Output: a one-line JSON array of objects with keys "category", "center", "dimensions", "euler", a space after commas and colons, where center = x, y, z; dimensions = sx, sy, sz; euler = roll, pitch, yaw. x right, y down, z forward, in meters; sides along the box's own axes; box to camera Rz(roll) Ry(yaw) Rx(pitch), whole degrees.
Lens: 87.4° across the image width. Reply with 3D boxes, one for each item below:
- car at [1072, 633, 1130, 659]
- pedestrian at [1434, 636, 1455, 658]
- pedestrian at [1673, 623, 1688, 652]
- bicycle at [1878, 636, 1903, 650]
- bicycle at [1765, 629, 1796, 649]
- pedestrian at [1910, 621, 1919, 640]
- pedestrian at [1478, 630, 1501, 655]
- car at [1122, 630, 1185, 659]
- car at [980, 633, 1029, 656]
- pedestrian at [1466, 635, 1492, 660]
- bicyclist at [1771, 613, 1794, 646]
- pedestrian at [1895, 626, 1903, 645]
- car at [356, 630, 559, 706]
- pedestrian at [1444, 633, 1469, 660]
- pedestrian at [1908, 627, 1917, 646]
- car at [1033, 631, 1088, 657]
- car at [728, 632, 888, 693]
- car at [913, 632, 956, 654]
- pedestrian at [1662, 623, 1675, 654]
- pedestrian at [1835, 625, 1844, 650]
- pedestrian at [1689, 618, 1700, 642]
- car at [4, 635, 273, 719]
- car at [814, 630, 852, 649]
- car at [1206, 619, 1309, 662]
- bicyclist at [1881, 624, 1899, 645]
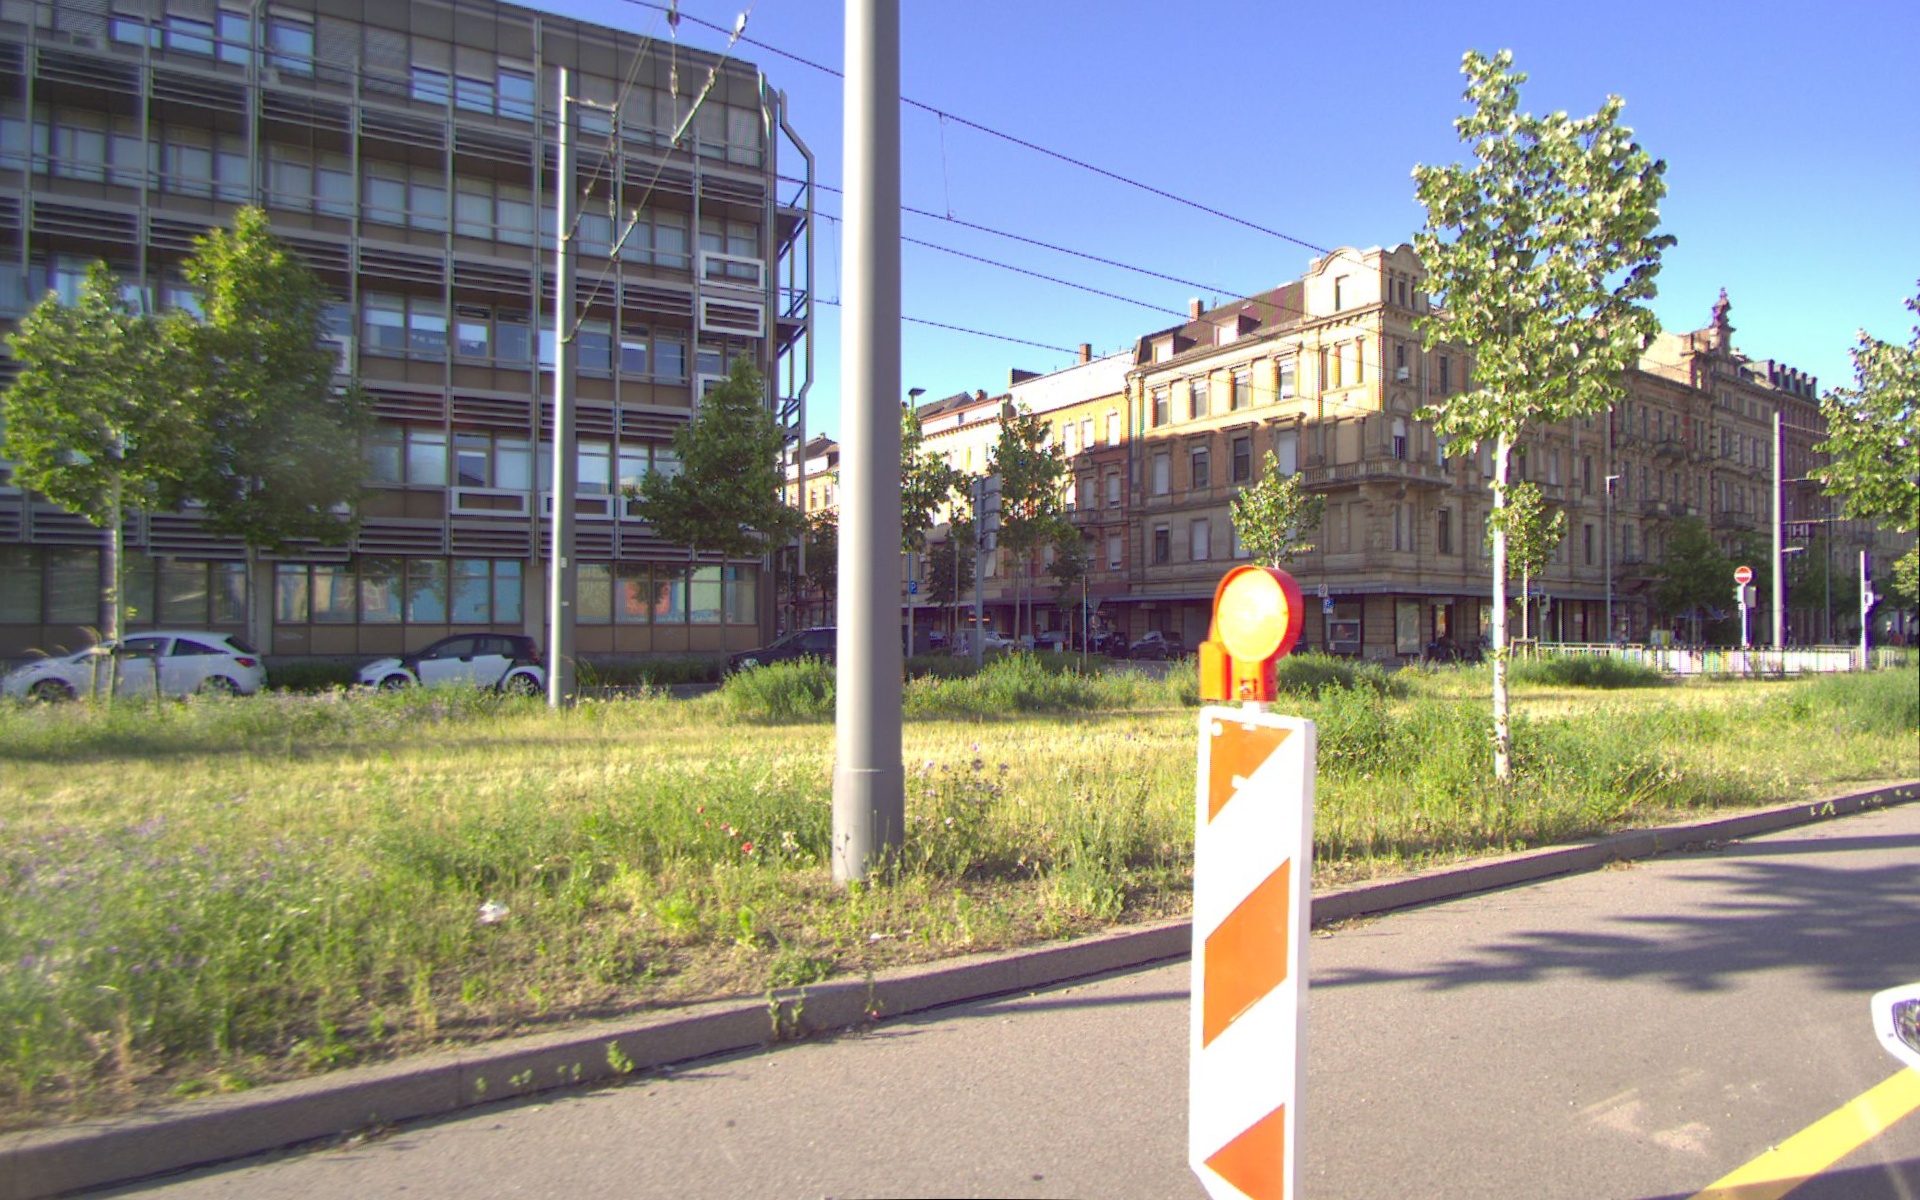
[{"category": "car", "center": [7.856, 2.545, 56.177], "dimensions": [1.566, 1.427, 3.030], "euler": [1, -2, -37]}, {"category": "pedestrian", "center": [23.914, 2.332, 49.569], "dimensions": [0.728, 1.073, 0.686], "euler": [1, -2, -33]}, {"category": "pedestrian", "center": [40.698, 2.138, 56.732], "dimensions": [0.528, 1.606, 0.484], "euler": [1, 0, -34]}, {"category": "bicycle", "center": [57.129, 2.623, 61.655], "dimensions": [2.009, 0.869, 0.633], "euler": [1, -2, -33]}, {"category": "bicycle", "center": [41.543, 1.952, 50.866], "dimensions": [1.807, 0.991, 0.691], "euler": [1, -2, -33]}, {"category": "pedestrian", "center": [80.043, 2.538, 84.219], "dimensions": [0.430, 1.553, 0.402], "euler": [1, 0, -34]}, {"category": "pedestrian", "center": [26.540, 2.136, 50.342], "dimensions": [0.919, 1.224, 0.686], "euler": [1, -2, -33]}, {"category": "car", "center": [10.179, 2.344, 52.916], "dimensions": [1.371, 1.487, 3.121], "euler": [1, -2, -37]}, {"category": "car", "center": [2.763, 2.787, 62.842], "dimensions": [1.472, 1.427, 3.030], "euler": [1, -2, -37]}, {"category": "pedestrian", "center": [25.536, 2.319, 49.446], "dimensions": [0.919, 1.224, 0.787], "euler": [1, -2, -33]}, {"category": "bicyclist", "center": [41.819, 1.514, 51.066], "dimensions": [0.873, 1.679, 0.691], "euler": [1, -2, -33]}, {"category": "pedestrian", "center": [79.516, 3.035, 85.036], "dimensions": [0.382, 1.606, 0.430], "euler": [1, 0, -36]}, {"category": "car", "center": [-11.138, 1.463, 22.501], "dimensions": [3.913, 1.574, 1.644], "euler": [1, -2, -26]}, {"category": "pedestrian", "center": [23.973, 2.241, 48.481], "dimensions": [0.919, 1.263, 0.686], "euler": [1, -2, -33]}, {"category": "pedestrian", "center": [79.922, 3.074, 84.268], "dimensions": [0.335, 1.606, 0.426], "euler": [1, 0, -32]}, {"category": "car", "center": [5.848, 2.559, 58.634], "dimensions": [1.566, 1.427, 3.030], "euler": [1, -2, -37]}, {"category": "car", "center": [-3.995, 1.600, 26.502], "dimensions": [3.854, 1.480, 1.722], "euler": [1, -2, -30]}, {"category": "car", "center": [-1.782, 2.949, 69.117], "dimensions": [1.472, 1.427, 3.030], "euler": [1, -2, -37]}, {"category": "pedestrian", "center": [41.320, 2.263, 58.561], "dimensions": [0.402, 1.788, 0.505], "euler": [1, 0, -34]}, {"category": "pedestrian", "center": [64.678, 2.771, 73.887], "dimensions": [0.402, 1.788, 0.364], "euler": [1, 0, -34]}, {"category": "pedestrian", "center": [48.842, 2.011, 66.800], "dimensions": [0.383, 1.606, 0.385], "euler": [1, 0, -3]}, {"category": "car", "center": [-15.859, 1.435, 19.655], "dimensions": [3.768, 1.460, 1.619], "euler": [1, -1, -26]}, {"category": "car", "center": [-10.231, 3.165, 80.833], "dimensions": [1.585, 1.427, 3.326], "euler": [1, -2, -37]}, {"category": "car", "center": [14.044, 1.902, 47.649], "dimensions": [1.881, 1.928, 4.476], "euler": [1, -2, -37]}, {"category": "bicyclist", "center": [56.985, 2.120, 61.576], "dimensions": [0.730, 1.256, 0.634], "euler": [1, -2, -33]}]
